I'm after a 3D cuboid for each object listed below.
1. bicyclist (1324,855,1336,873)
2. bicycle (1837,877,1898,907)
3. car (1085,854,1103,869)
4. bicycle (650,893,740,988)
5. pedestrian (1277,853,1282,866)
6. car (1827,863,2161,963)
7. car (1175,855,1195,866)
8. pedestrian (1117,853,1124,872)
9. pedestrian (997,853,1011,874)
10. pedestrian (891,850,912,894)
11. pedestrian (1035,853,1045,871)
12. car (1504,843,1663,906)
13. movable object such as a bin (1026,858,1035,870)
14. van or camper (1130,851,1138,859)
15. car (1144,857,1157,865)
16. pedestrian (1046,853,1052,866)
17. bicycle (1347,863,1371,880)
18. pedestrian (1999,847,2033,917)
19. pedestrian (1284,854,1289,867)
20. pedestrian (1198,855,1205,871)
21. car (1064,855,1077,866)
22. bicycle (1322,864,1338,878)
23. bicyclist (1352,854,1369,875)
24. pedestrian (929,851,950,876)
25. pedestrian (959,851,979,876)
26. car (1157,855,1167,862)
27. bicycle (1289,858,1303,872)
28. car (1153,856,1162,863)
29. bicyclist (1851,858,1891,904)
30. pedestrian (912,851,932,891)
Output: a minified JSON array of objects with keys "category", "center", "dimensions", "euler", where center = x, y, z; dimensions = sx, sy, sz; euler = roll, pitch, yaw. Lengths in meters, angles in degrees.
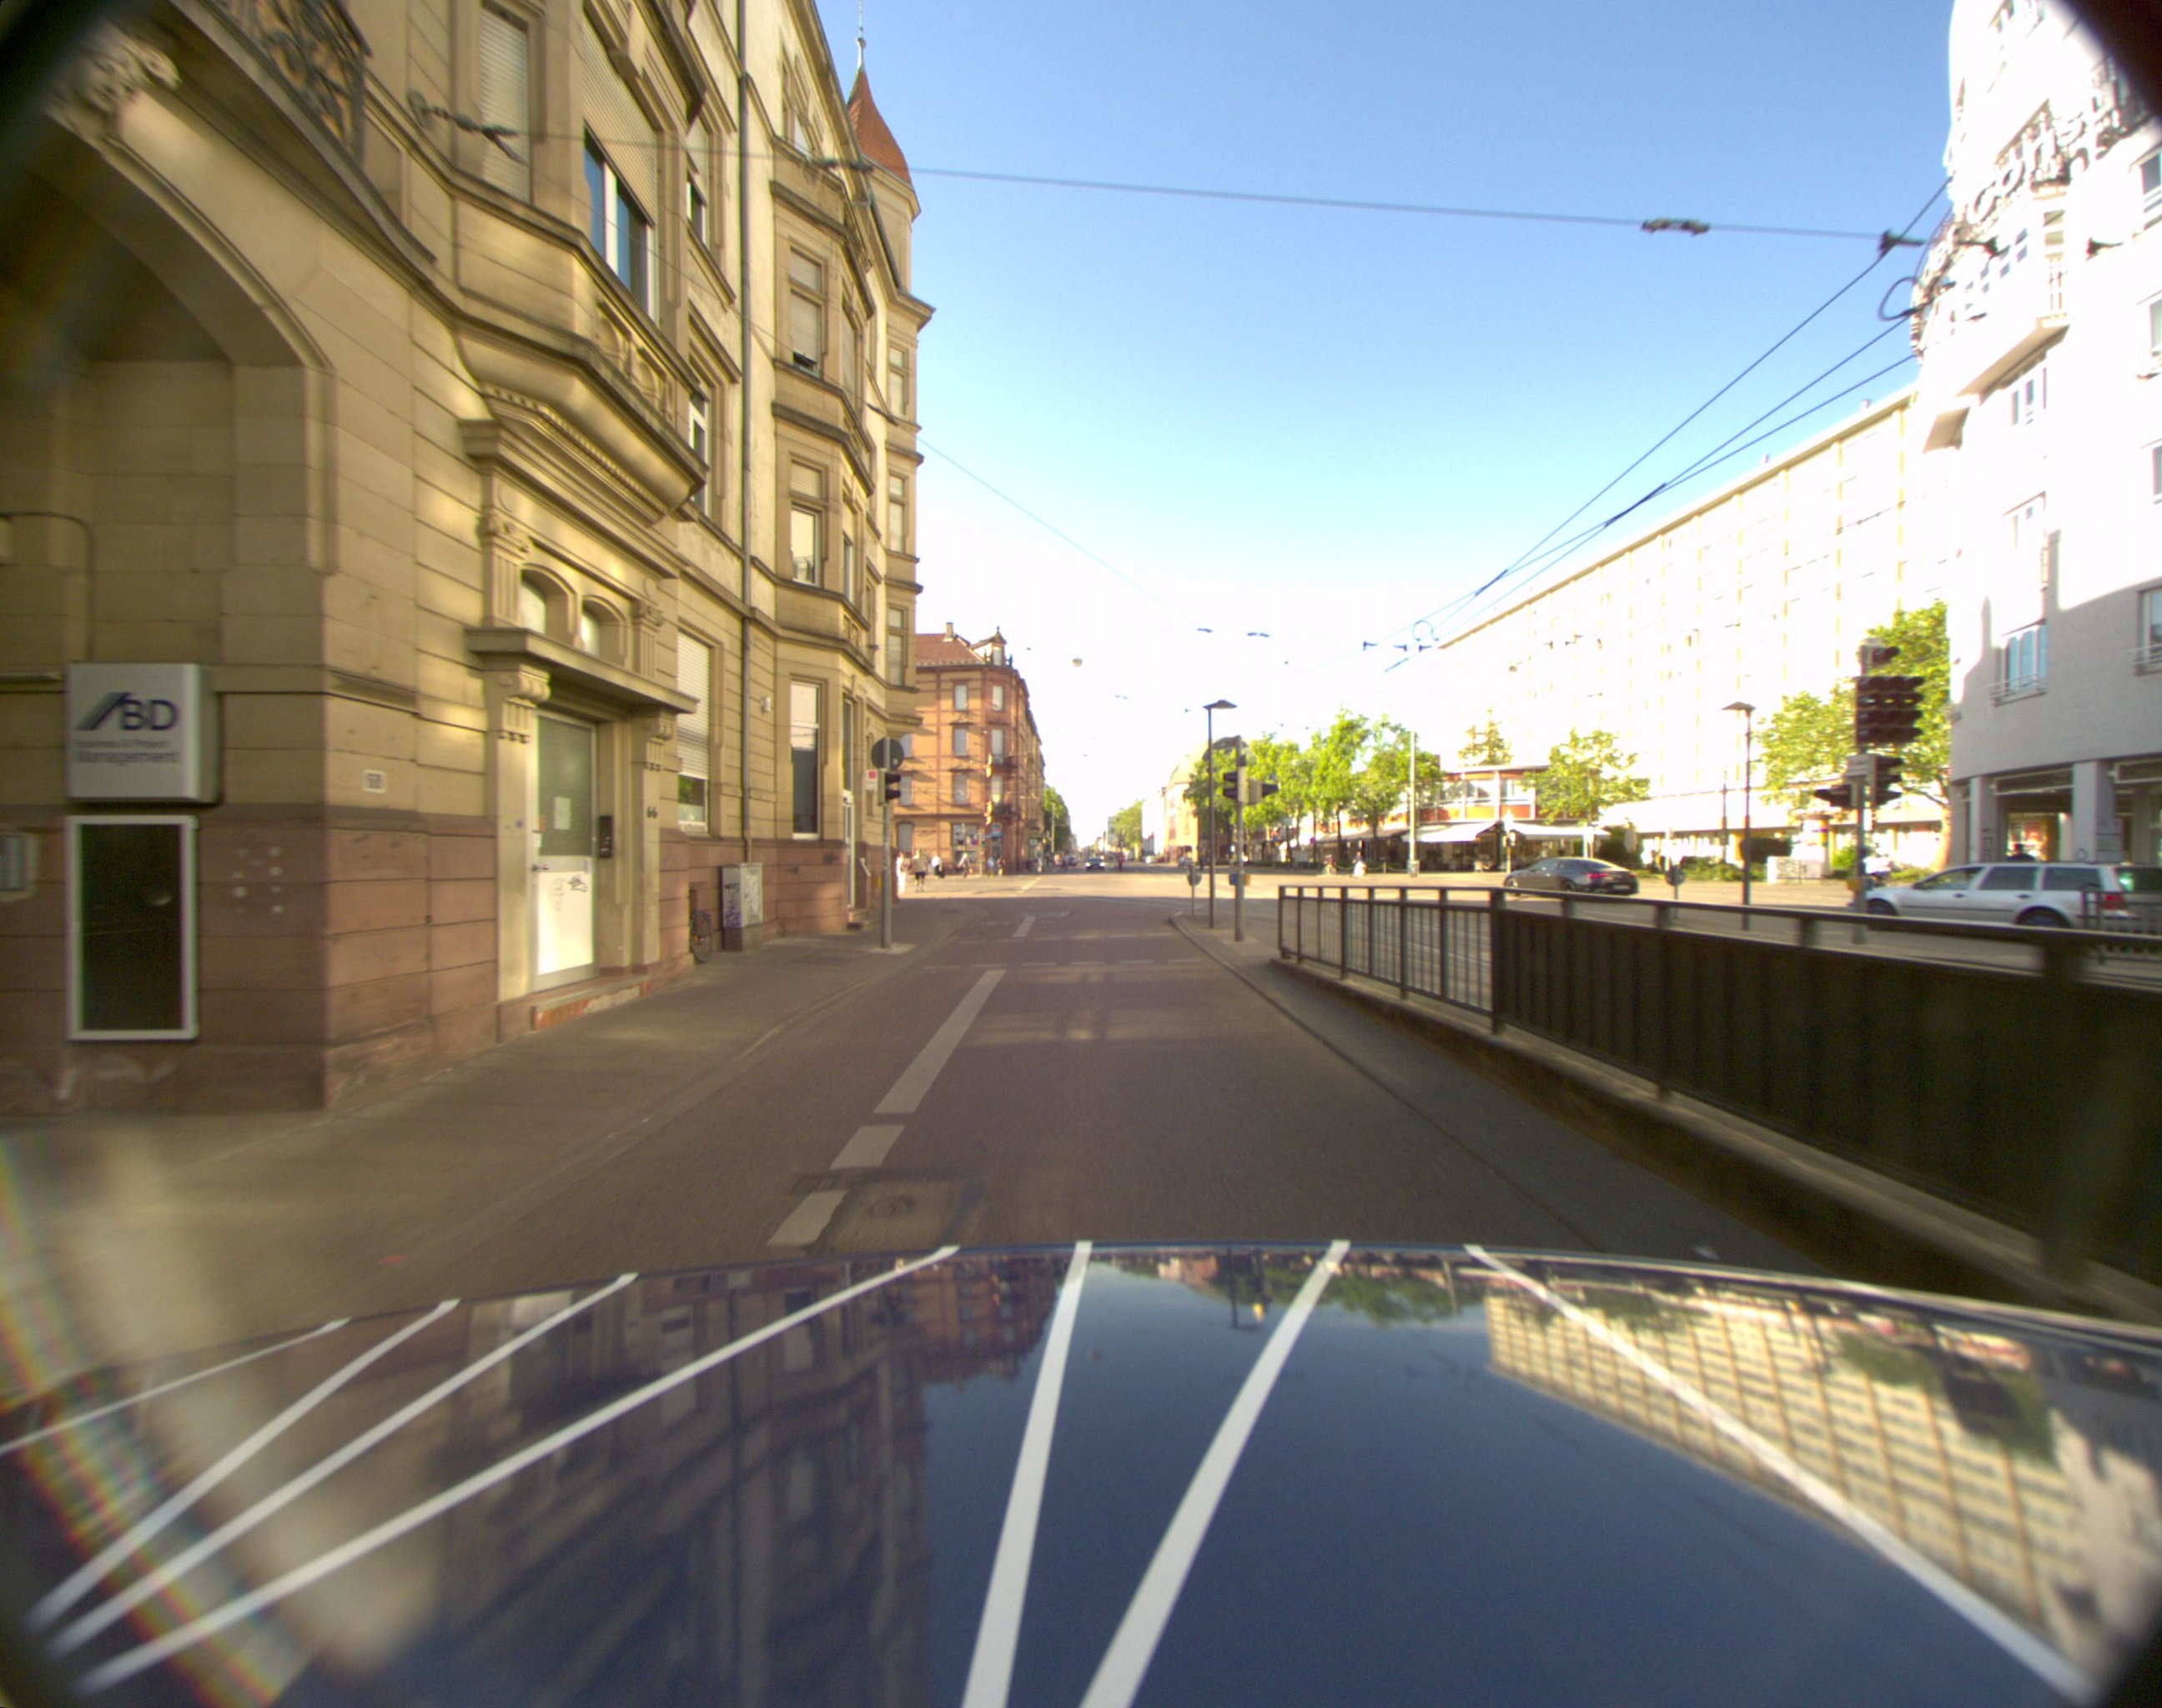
[{"category":"bicyclist","center":[18.425,0.724,56.290],"dimensions":[0.590,1.278,0.927],"euler":[0,1,1]},{"category":"bicycle","center":[27.560,1.318,26.627],"dimensions":[2.049,0.967,0.595],"euler":[0,2,-16]},{"category":"car","center":[1.318,0.744,79.552],"dimensions":[1.815,1.415,4.153],"euler":[-2,0,0]},{"category":"bicycle","center":[-5.165,1.116,10.269],"dimensions":[0.256,1.046,1.768],"euler":[-1,1,1]},{"category":"pedestrian","center":[27.151,0.780,103.969],"dimensions":[0.574,1.761,0.706],"euler":[0,1,2]},{"category":"car","center":[16.962,0.956,14.173],"dimensions":[1.733,1.506,4.404],"euler":[0,0,0]},{"category":"car","center":[13.886,0.879,101.882],"dimensions":[1.999,1.443,4.649],"euler":[0,0,-1]},{"category":"pedestrian","center":[3.692,0.816,71.540],"dimensions":[0.559,1.753,0.895],"euler":[2,0,0]},{"category":"pedestrian","center":[-5.756,0.718,56.859],"dimensions":[0.633,1.529,0.944],"euler":[1,2,32]},{"category":"pedestrian","center":[-7.375,0.731,31.322],"dimensions":[0.645,1.735,0.705],"euler":[-2,2,0]},{"category":"pedestrian","center":[-3.725,0.741,69.543],"dimensions":[0.684,1.598,0.729],"euler":[0,1,-27]},{"category":"car","center":[16.472,0.622,25.265],"dimensions":[2.233,1.900,4.608],"euler":[0,0,0]},{"category":"movable object such as a bin","center":[-4.805,0.949,72.334],"dimensions":[0.664,1.066,0.545],"euler":[3,1,3]},{"category":"van or camper","center":[17.202,0.280,246.197],"dimensions":[2.041,2.723,7.020],"euler":[1,0,0]},{"category":"car","center":[13.343,1.301,146.502],"dimensions":[1.999,1.443,4.501],"euler":[0,0,-1]},{"category":"pedestrian","center":[-4.608,0.756,110.523],"dimensions":[0.686,1.901,1.063],"euler":[-1,2,3]},{"category":"bicycle","center":[17.963,1.121,49.095],"dimensions":[0.596,0.967,1.852],"euler":[0,1,-9]},{"category":"pedestrian","center":[24.845,0.731,20.191],"dimensions":[0.747,1.821,0.460],"euler":[0,-1,-32]},{"category":"pedestrian","center":[28.119,0.925,103.961],"dimensions":[0.574,1.740,0.706],"euler":[0,1,2]},{"category":"pedestrian","center":[11.618,0.834,73.505],"dimensions":[0.501,1.509,0.859],"euler":[2,0,0]},{"category":"car","center":[-1.419,0.890,106.519],"dimensions":[1.694,1.442,4.359],"euler":[-2,0,0]},{"category":"bicycle","center":[18.485,1.286,56.365],"dimensions":[0.595,0.967,1.817],"euler":[0,1,1]},{"category":"bicyclist","center":[17.987,0.664,48.930],"dimensions":[0.590,1.278,0.991],"euler":[0,1,-9]},{"category":"pedestrian","center":[-9.429,0.607,50.606],"dimensions":[1.006,1.623,0.927],"euler":[2,2,40]},{"category":"pedestrian","center":[-7.464,0.633,50.748],"dimensions":[0.939,1.623,0.927],"euler":[1,2,32]},{"category":"car","center":[18.350,1.063,171.631],"dimensions":[1.753,1.445,3.471],"euler":[-1,0,-1]},{"category":"bicycle","center":[18.753,0.940,66.262],"dimensions":[0.498,1.179,2.235],"euler":[0,0,-1]},{"category":"car","center":[18.297,1.317,181.294],"dimensions":[1.856,1.445,3.853],"euler":[-1,0,1]},{"category":"bicyclist","center":[27.693,0.919,26.643],"dimensions":[0.896,1.576,0.589],"euler":[0,2,-16]},{"category":"pedestrian","center":[-6.555,0.691,31.340],"dimensions":[0.702,1.645,0.632],"euler":[1,2,3]}]
